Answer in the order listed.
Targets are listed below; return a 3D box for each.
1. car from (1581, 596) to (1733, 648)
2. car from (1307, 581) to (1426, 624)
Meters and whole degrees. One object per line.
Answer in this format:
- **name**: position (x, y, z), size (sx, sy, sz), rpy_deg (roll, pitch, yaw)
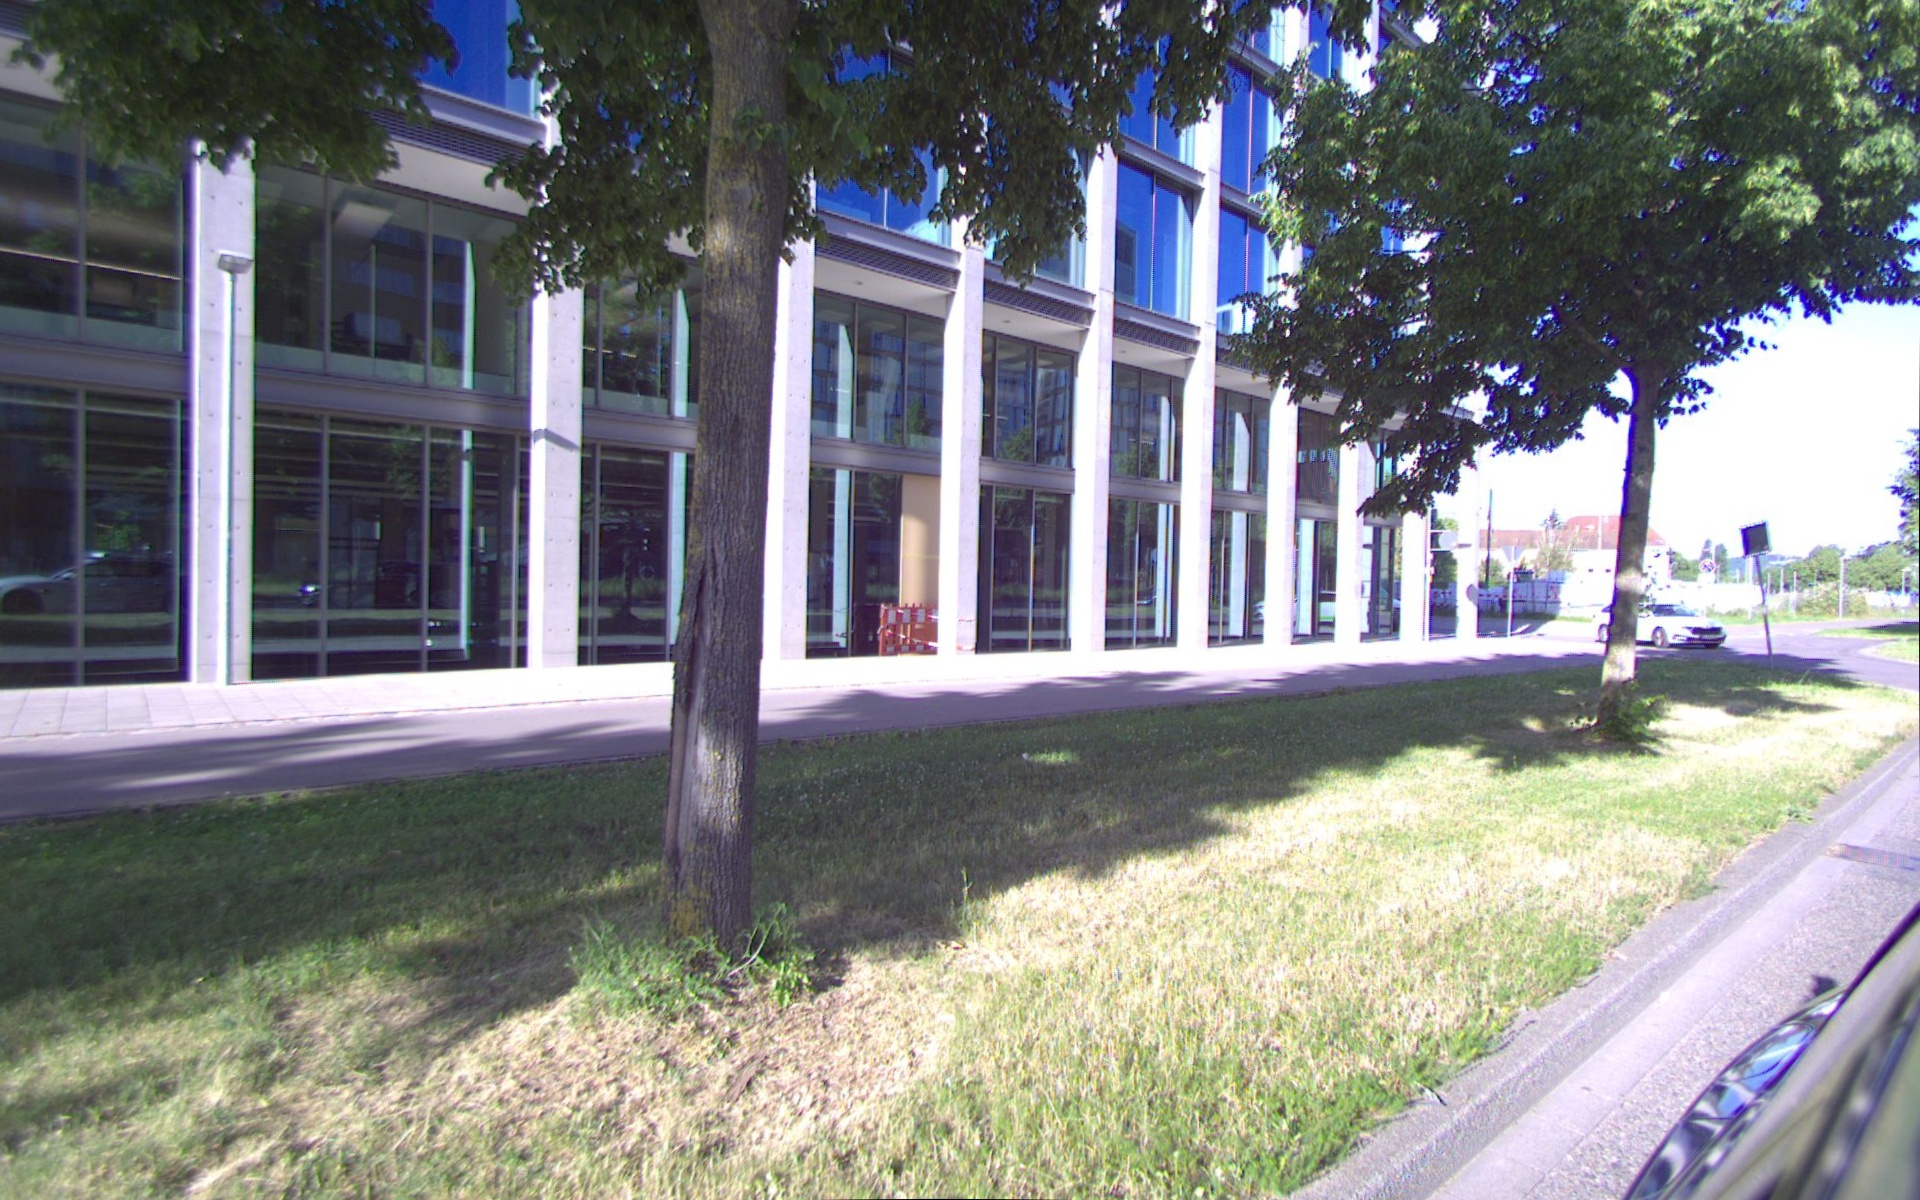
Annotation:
- **car**: position (22.573, 0.652, 33.044), size (1.771, 1.465, 4.569), rpy_deg (1, 1, 0)
- **car**: position (16.294, 0.047, 40.738), size (1.964, 1.598, 3.998), rpy_deg (0, 1, -38)
